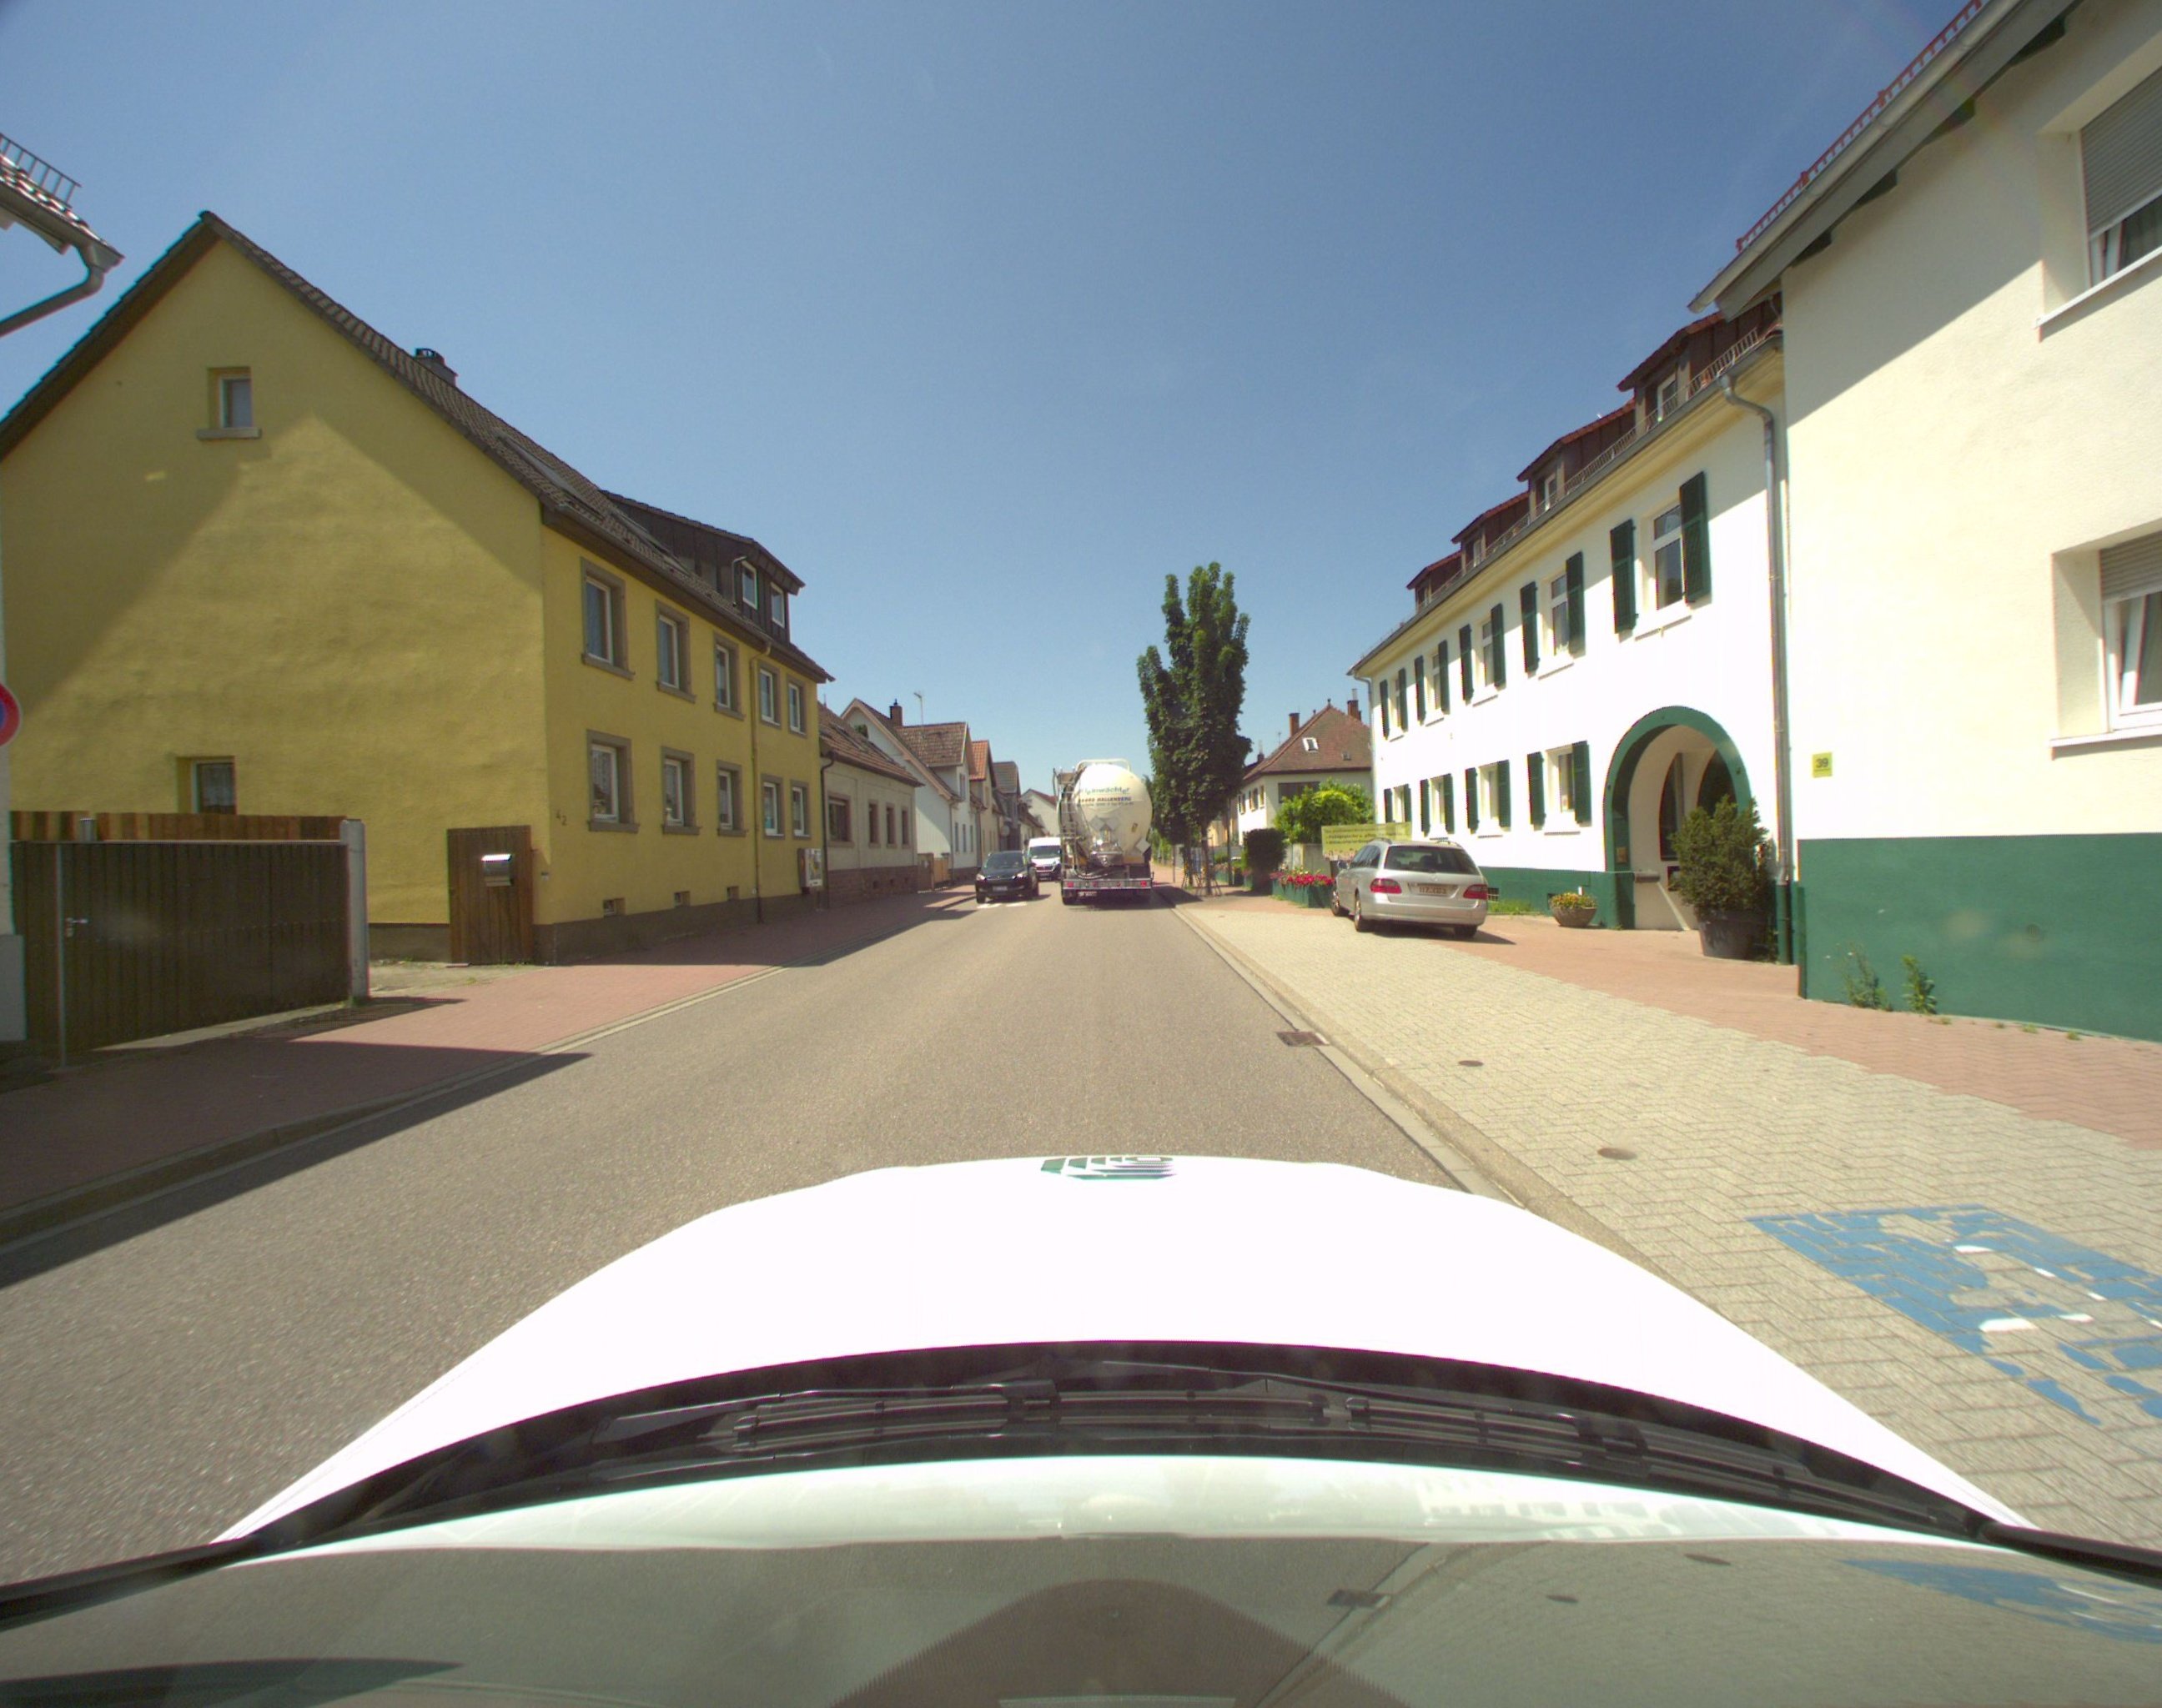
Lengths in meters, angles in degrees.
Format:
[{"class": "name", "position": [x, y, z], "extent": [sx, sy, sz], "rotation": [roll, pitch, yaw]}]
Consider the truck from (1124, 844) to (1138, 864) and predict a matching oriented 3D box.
[{"class": "truck", "position": [7.923, -0.028, 129.572], "extent": [1.984, 3.137, 9.460], "rotation": [0, 0, 5]}]

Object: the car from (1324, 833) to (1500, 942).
[{"class": "car", "position": [5.450, 0.455, 14.076], "extent": [1.804, 1.462, 4.899], "rotation": [3, 1, 10]}]

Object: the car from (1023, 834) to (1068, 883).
[{"class": "car", "position": [-1.940, 0.245, 46.311], "extent": [2.062, 2.455, 6.009], "rotation": [-3, 0, 1]}]

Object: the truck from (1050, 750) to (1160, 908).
[{"class": "truck", "position": [0.677, -0.590, 24.672], "extent": [2.723, 3.960, 8.142], "rotation": [-1, -1, 1]}]

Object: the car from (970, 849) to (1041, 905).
[{"class": "car", "position": [-2.502, 0.709, 27.947], "extent": [1.833, 1.669, 4.325], "rotation": [-3, 0, 1]}]

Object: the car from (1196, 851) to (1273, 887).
[{"class": "car", "position": [9.170, 0.880, 48.774], "extent": [4.154, 1.587, 1.908], "rotation": [8, 0, 2]}]
